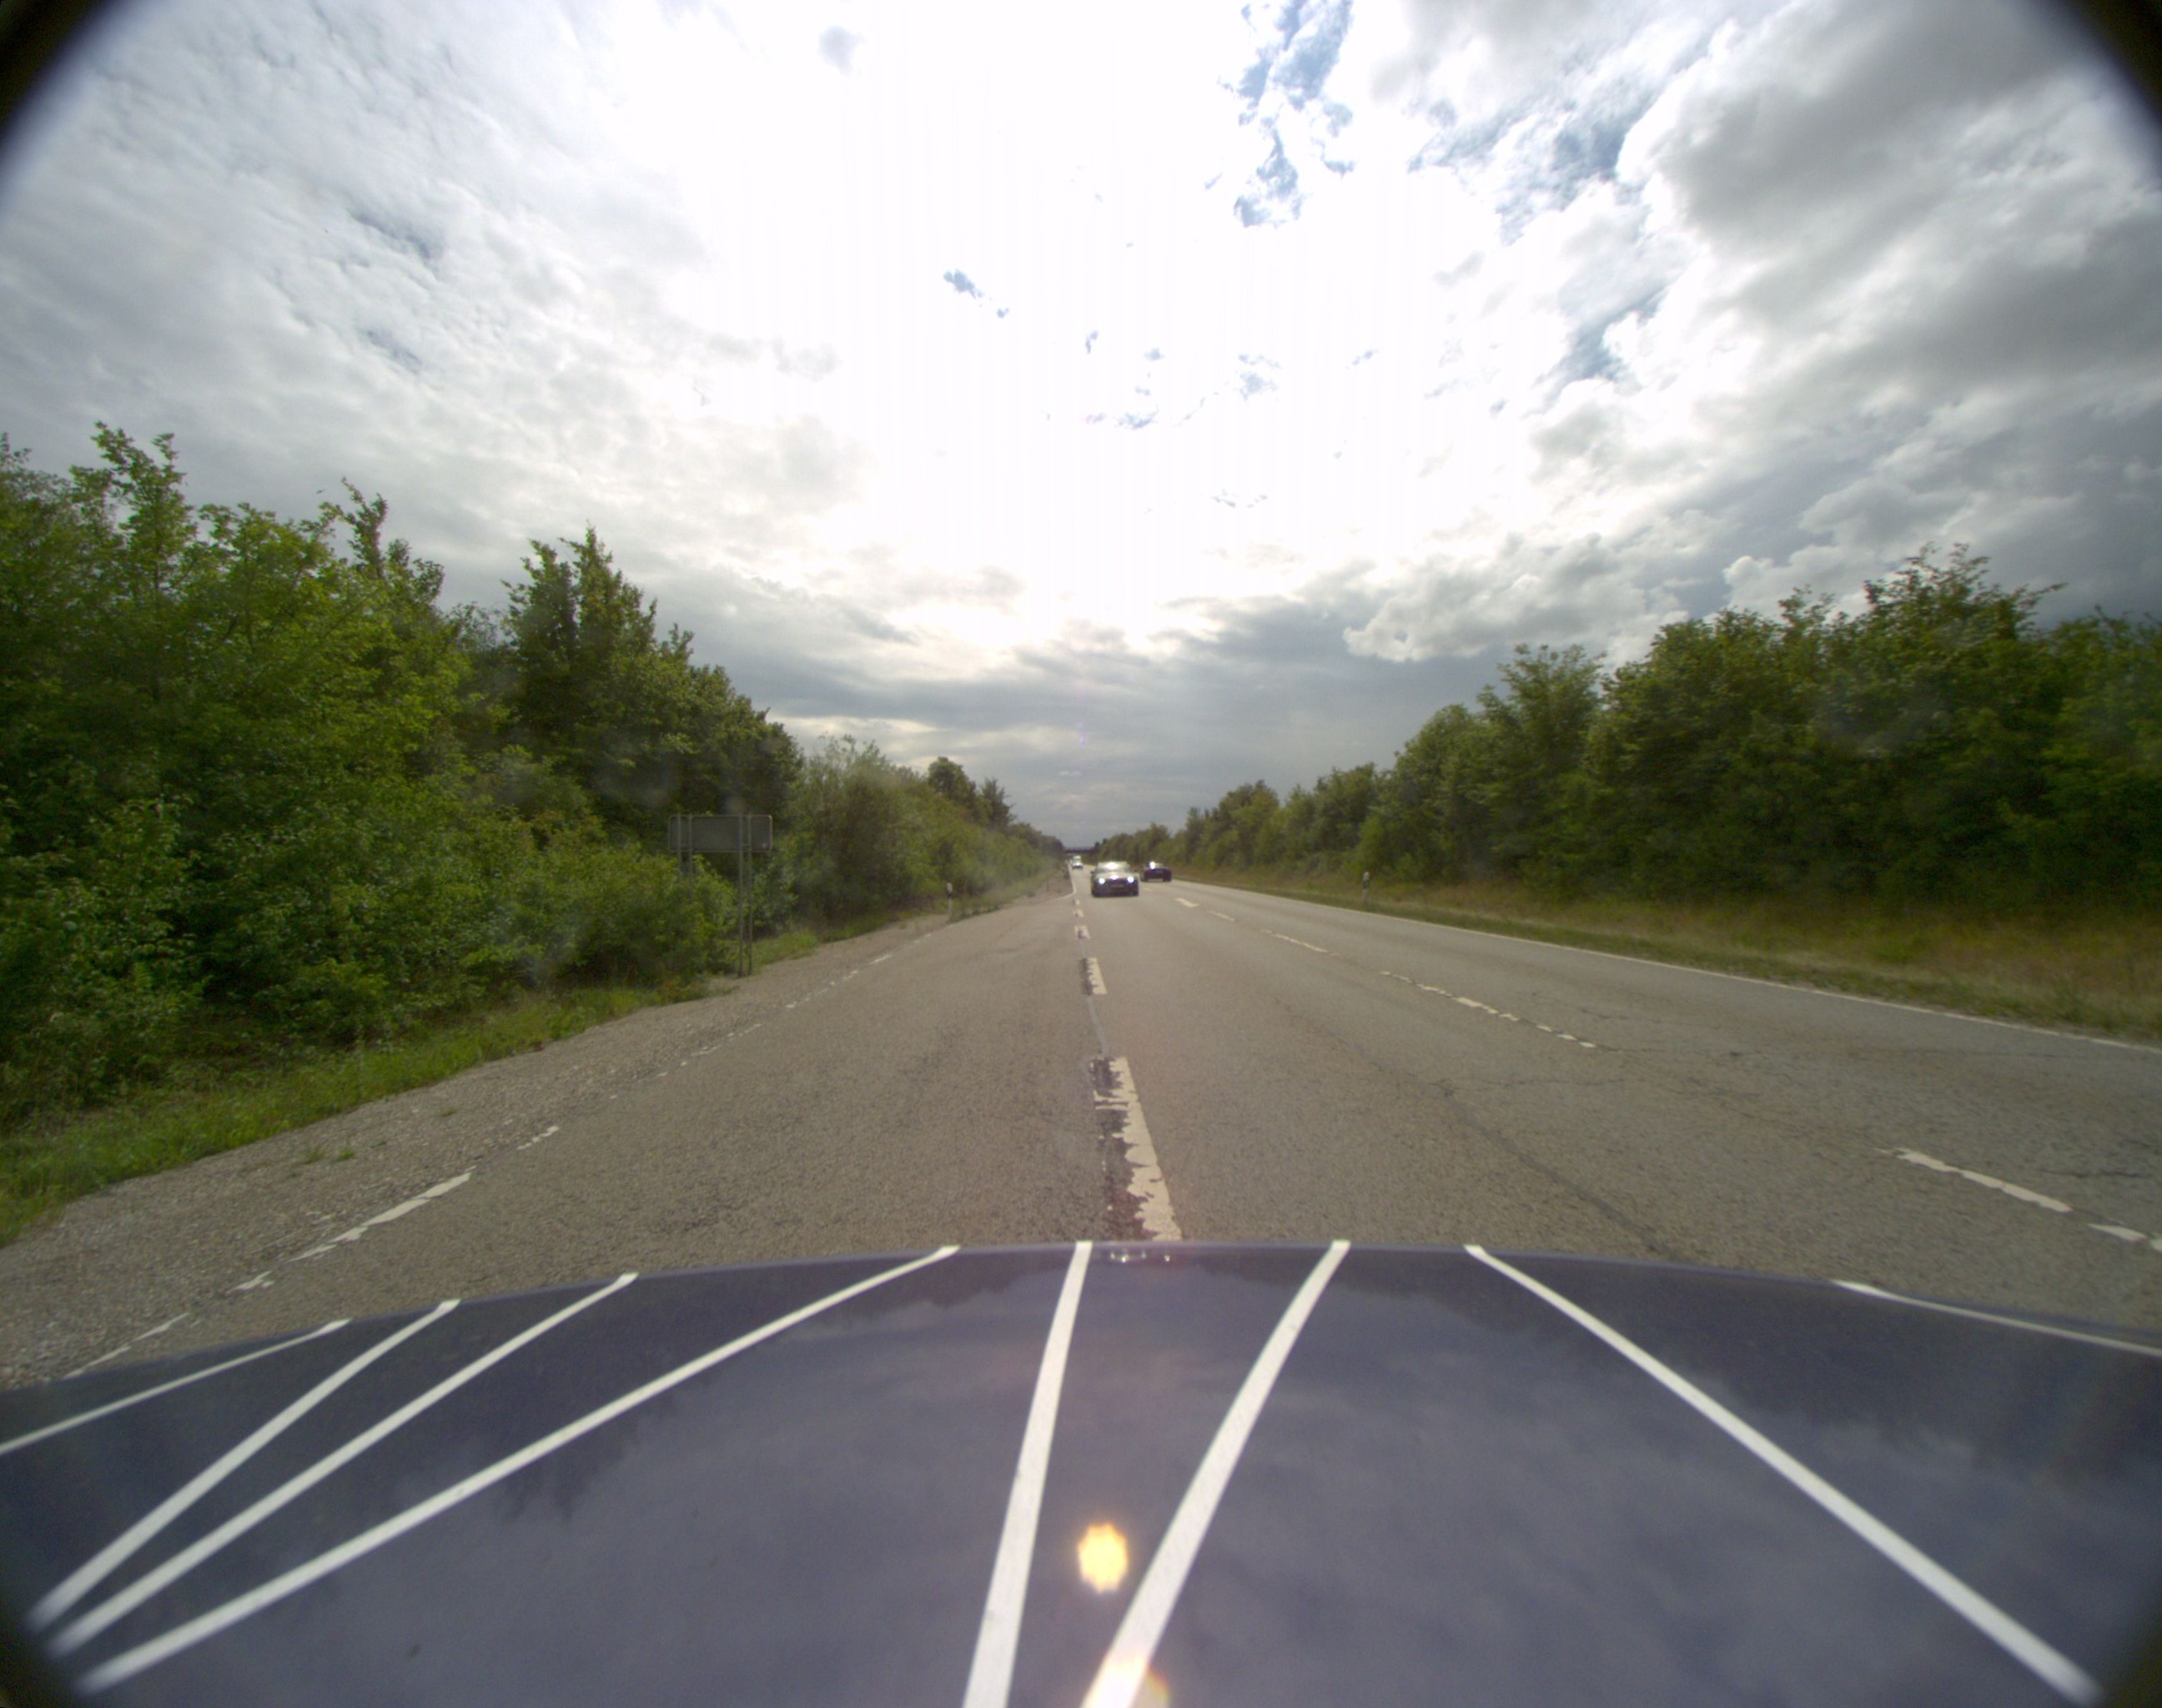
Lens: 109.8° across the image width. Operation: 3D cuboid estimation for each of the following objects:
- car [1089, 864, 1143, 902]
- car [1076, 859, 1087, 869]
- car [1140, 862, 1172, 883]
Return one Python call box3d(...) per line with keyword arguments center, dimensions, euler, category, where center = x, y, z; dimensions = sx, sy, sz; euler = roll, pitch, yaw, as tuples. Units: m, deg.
box3d(center=(1.461, 1.208, 33.451), dimensions=(1.999, 1.436, 4.640), euler=(-2, 0, -1), category="car")
box3d(center=(0.034, 1.806, 137.861), dimensions=(1.870, 1.597, 4.000), euler=(-2, 0, -1), category="car")
box3d(center=(5.043, 1.239, 51.399), dimensions=(1.705, 1.322, 3.999), euler=(-1, 0, -1), category="car")
